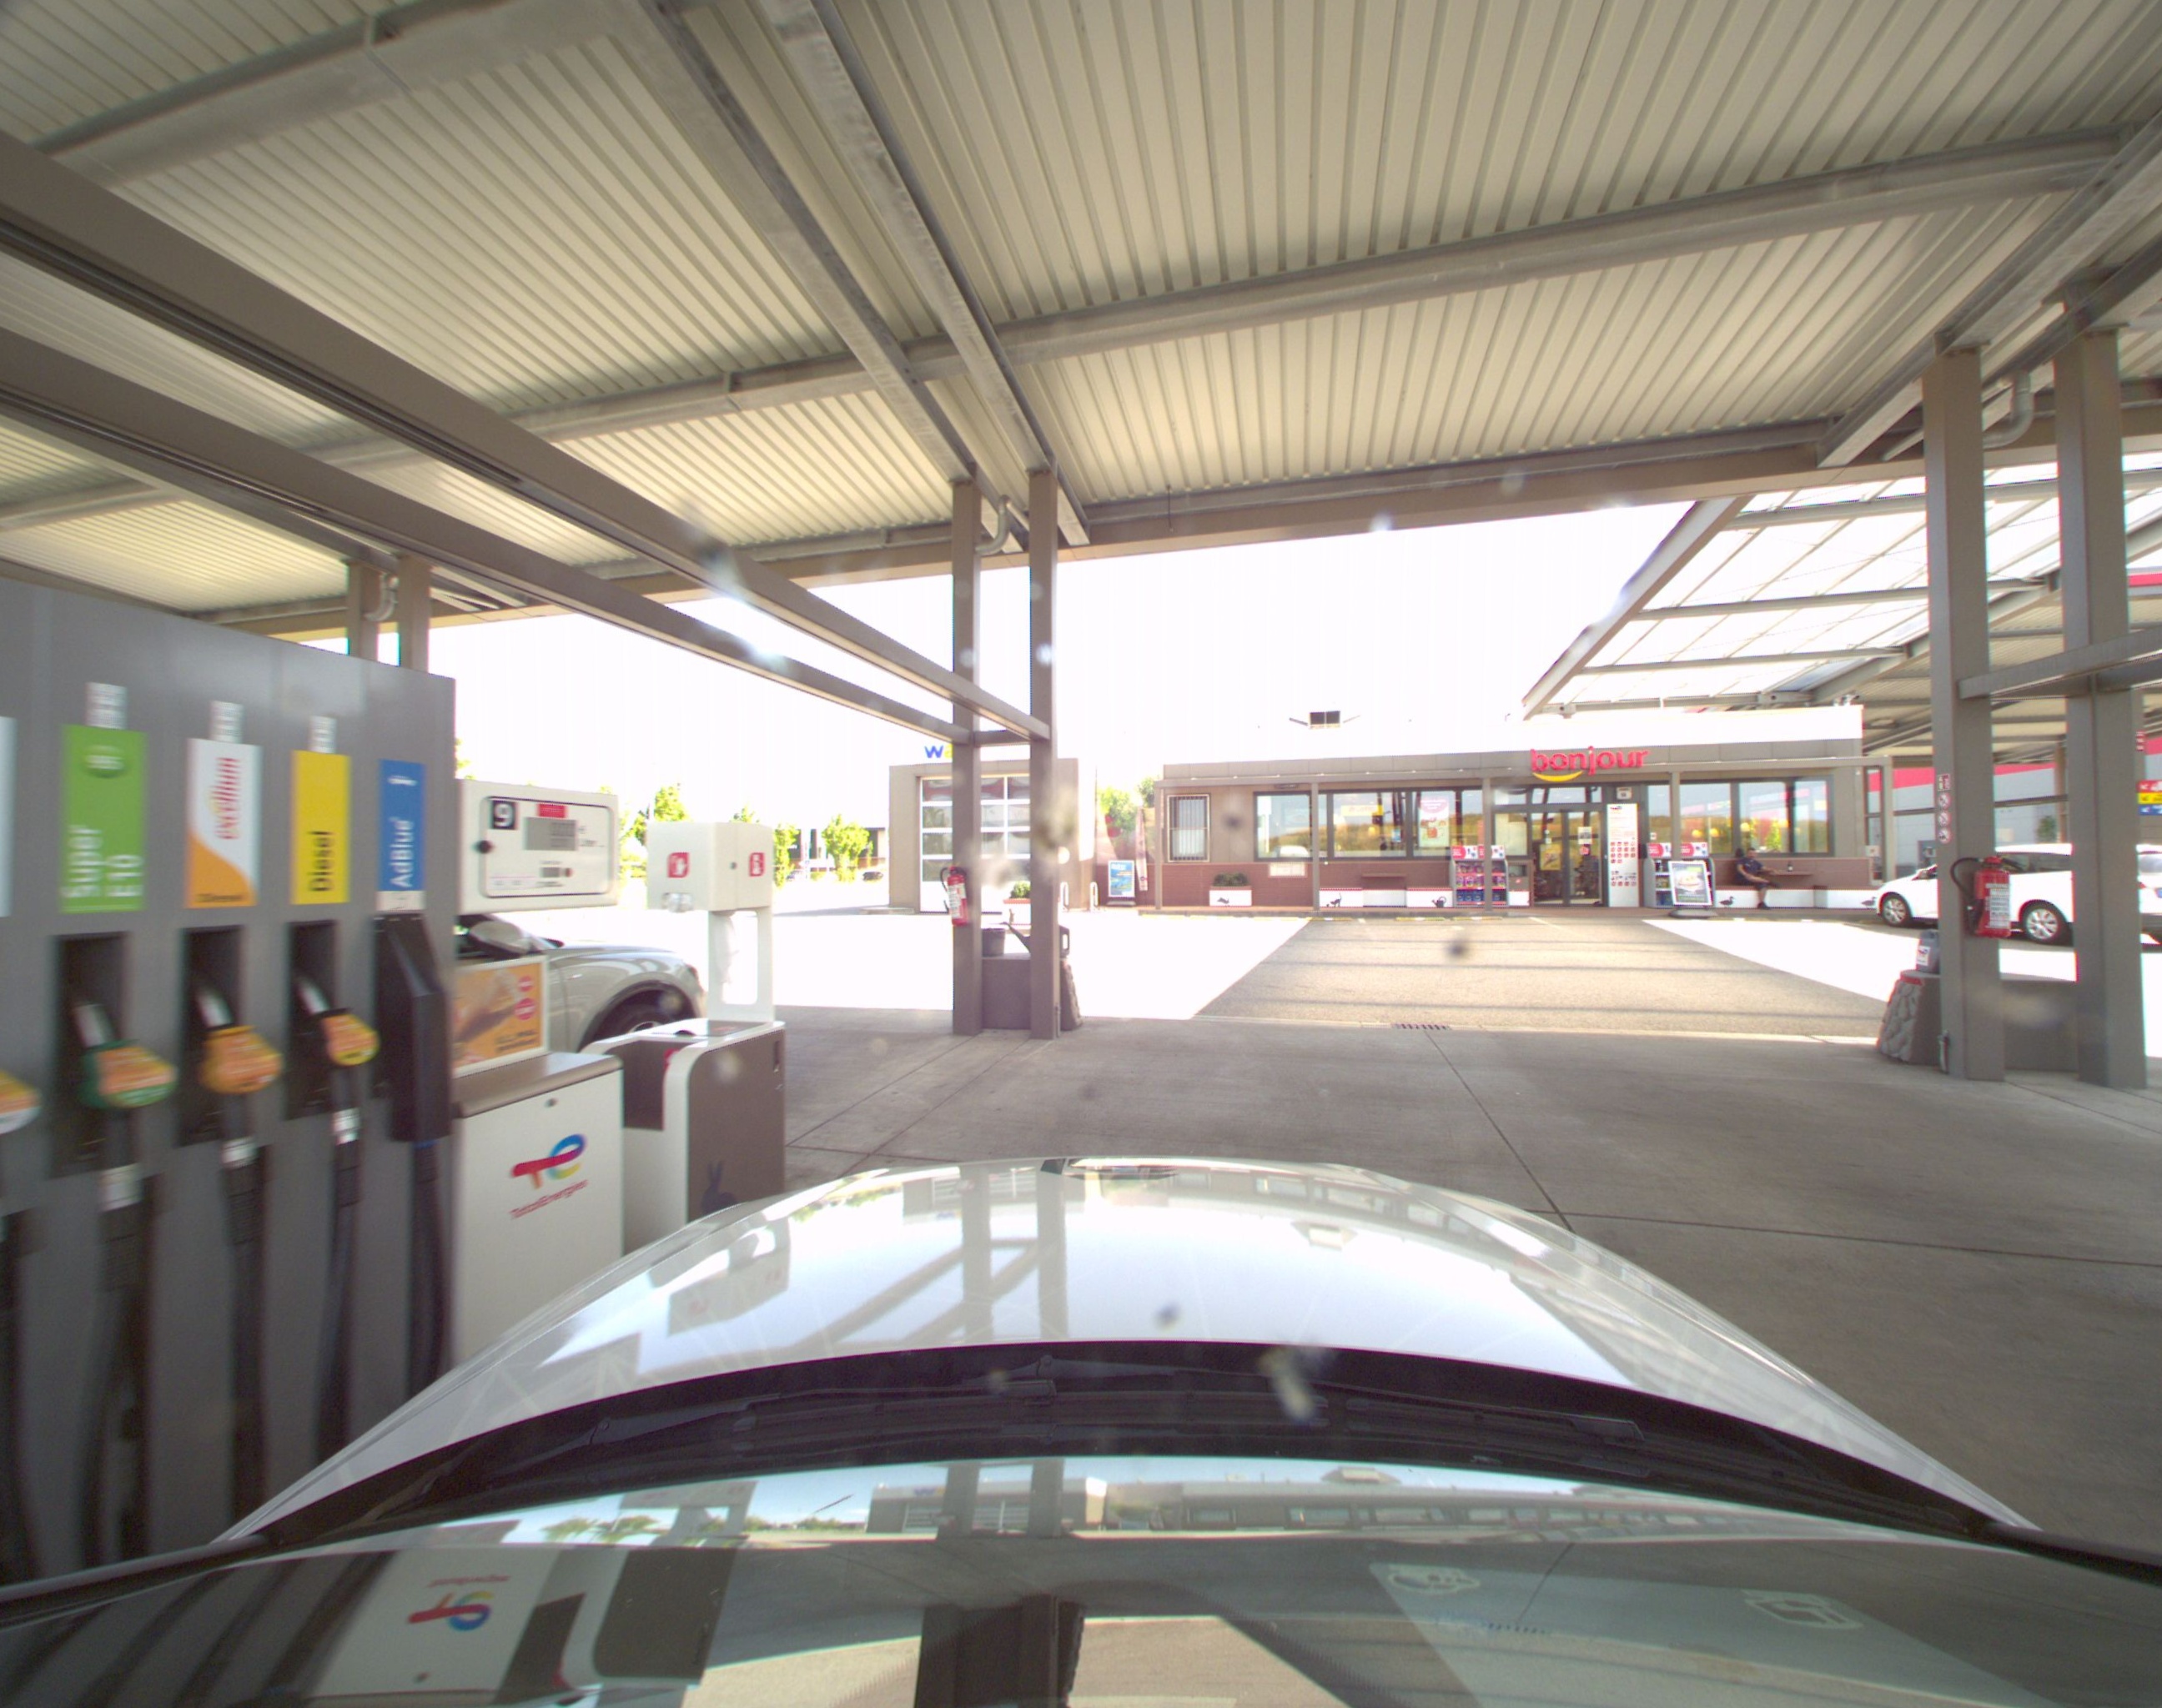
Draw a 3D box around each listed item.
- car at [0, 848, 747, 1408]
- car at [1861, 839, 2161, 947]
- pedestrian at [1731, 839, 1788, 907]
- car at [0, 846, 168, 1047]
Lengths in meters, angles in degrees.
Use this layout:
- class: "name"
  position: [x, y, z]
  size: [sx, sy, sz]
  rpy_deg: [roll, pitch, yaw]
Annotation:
- class: "car"
  position: [-3.592, 0.770, 3.387]
  size: [1.767, 1.541, 4.343]
  rpy_deg: [-1, 0, 15]
- class: "car"
  position: [15.279, 0.527, 13.074]
  size: [1.819, 1.457, 4.331]
  rpy_deg: [-1, 0, 9]
- class: "pedestrian"
  position: [14.608, 0.413, 17.557]
  size: [0.696, 1.432, 0.675]
  rpy_deg: [-1, -1, 13]
- class: "car"
  position: [-10.225, 0.790, 5.853]
  size: [1.847, 1.687, 4.549]
  rpy_deg: [-1, 0, 11]
